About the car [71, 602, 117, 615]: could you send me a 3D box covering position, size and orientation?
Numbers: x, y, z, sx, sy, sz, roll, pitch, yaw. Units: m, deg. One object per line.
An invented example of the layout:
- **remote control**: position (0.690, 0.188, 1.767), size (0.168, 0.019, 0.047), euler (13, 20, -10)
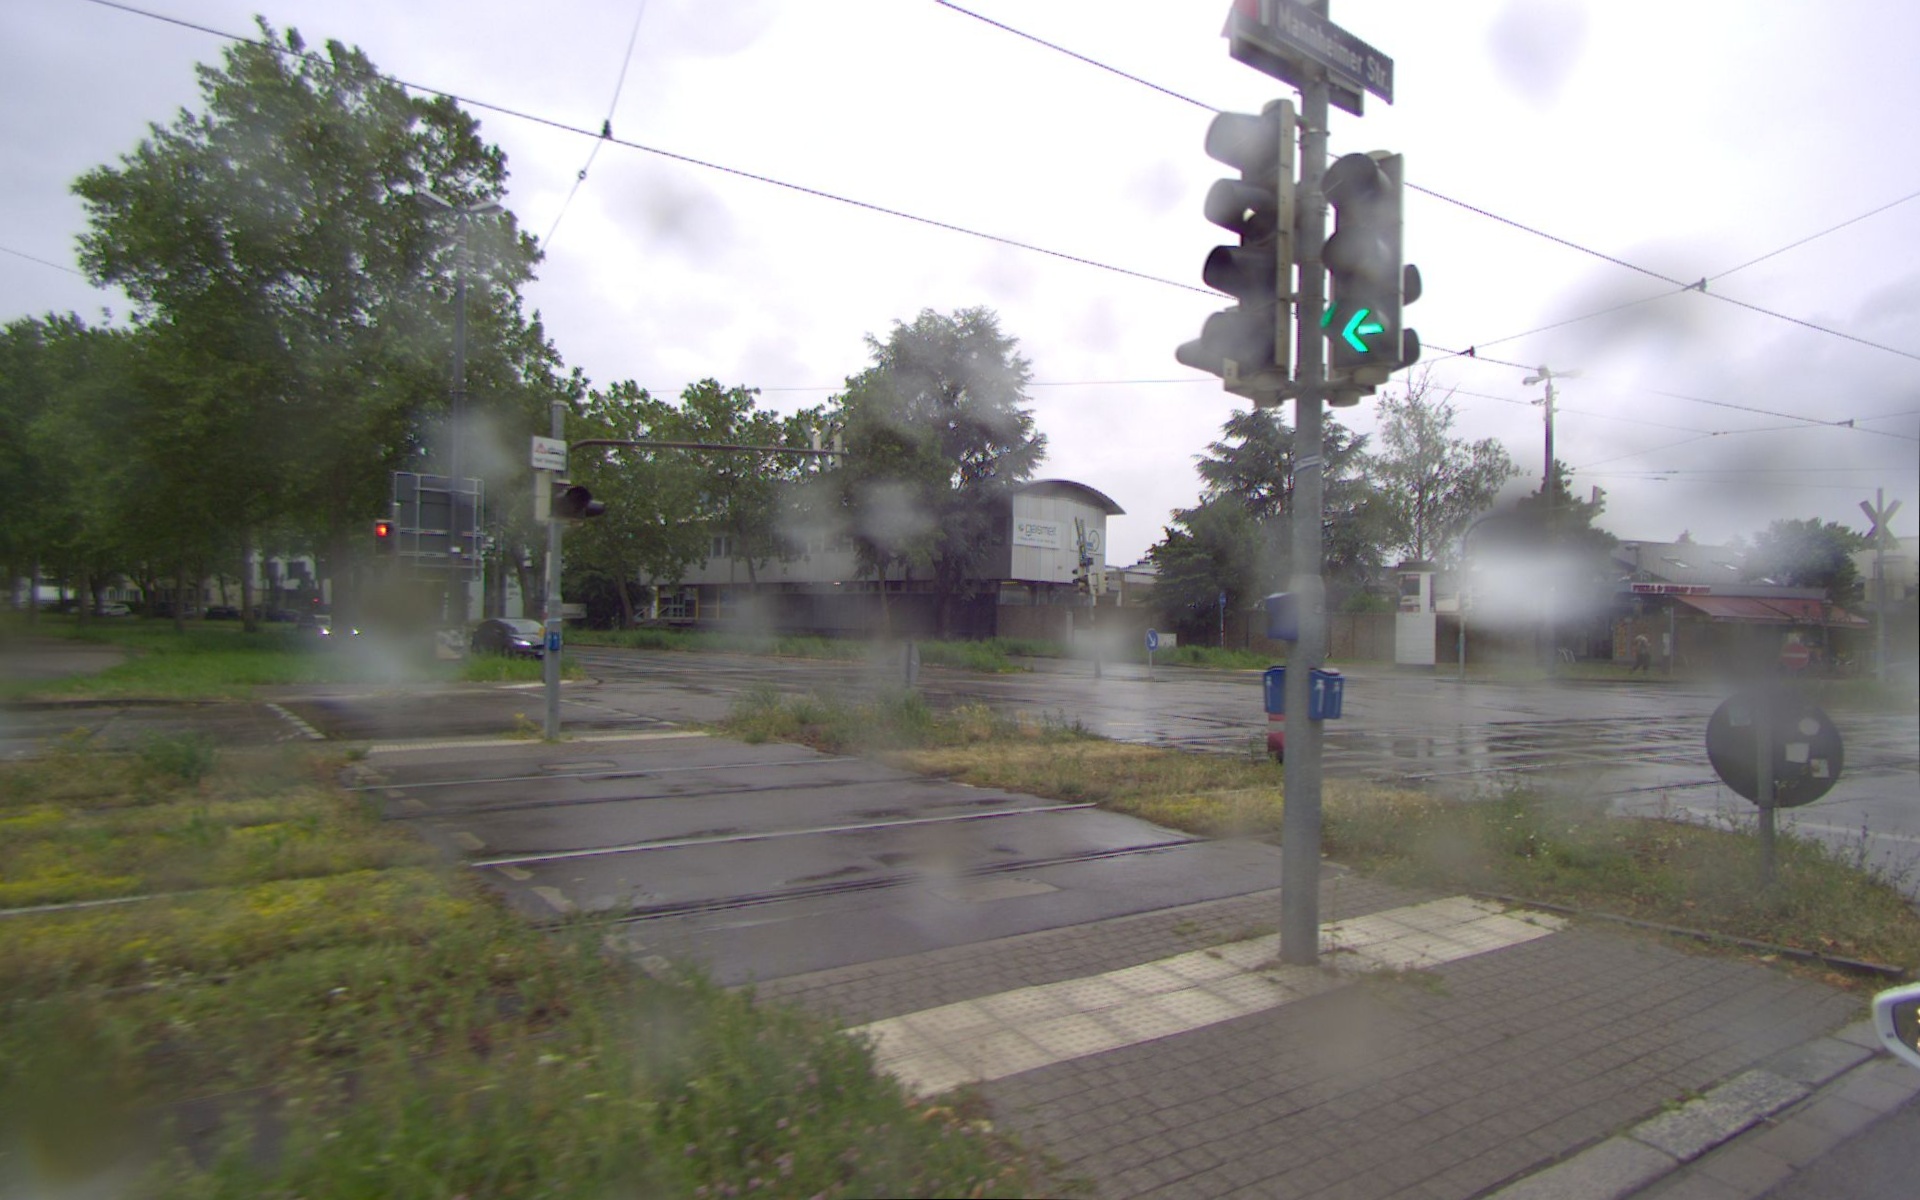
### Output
- **car**: position (-106.545, 1.067, 123.644), size (1.850, 1.513, 3.880), euler (2, 0, 19)

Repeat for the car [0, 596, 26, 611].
- **car**: position (-125.111, 0.476, 131.261), size (1.961, 1.844, 4.000), euler (2, 0, 20)

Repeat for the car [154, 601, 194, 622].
- **car**: position (-87.867, 1.280, 112.316), size (3.928, 2.116, 2.125), euler (2, 0, 30)

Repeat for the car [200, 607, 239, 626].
- **car**: position (-78.173, 1.776, 105.970), size (3.930, 1.806, 1.995), euler (2, 0, 32)

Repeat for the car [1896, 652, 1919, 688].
- **car**: position (40.399, 2.816, 39.838), size (1.838, 1.437, 4.474), euler (2, -3, -31)

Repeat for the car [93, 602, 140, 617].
- **car**: position (-102.721, 1.132, 122.331), size (1.852, 1.673, 3.877), euler (2, 0, 25)

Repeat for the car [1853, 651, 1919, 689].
- **car**: position (38.018, 2.741, 39.154), size (1.838, 1.437, 4.455), euler (2, -3, -31)

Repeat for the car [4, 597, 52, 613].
- **car**: position (-119.924, 0.662, 129.313), size (1.960, 1.855, 4.001), euler (2, 0, 17)

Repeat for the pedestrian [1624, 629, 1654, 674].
- **pedestrian**: position (28.530, 2.137, 42.203), size (0.712, 1.821, 0.887), euler (2, 1, 12)

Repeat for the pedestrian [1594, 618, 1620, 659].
- **pedestrian**: position (33.113, 1.952, 51.437), size (0.712, 2.040, 0.793), euler (2, 0, -8)

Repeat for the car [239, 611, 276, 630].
- **car**: position (-71.848, 2.070, 102.735), size (3.936, 1.806, 1.993), euler (2, 0, 37)

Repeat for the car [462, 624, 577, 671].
- **car**: position (-14.773, 1.531, 33.624), size (4.248, 1.420, 1.797), euler (-1, 0, 39)

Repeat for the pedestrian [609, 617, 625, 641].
- **pedestrian**: position (-25.058, 2.121, 73.371), size (0.811, 1.690, 0.670), euler (2, 0, 36)
